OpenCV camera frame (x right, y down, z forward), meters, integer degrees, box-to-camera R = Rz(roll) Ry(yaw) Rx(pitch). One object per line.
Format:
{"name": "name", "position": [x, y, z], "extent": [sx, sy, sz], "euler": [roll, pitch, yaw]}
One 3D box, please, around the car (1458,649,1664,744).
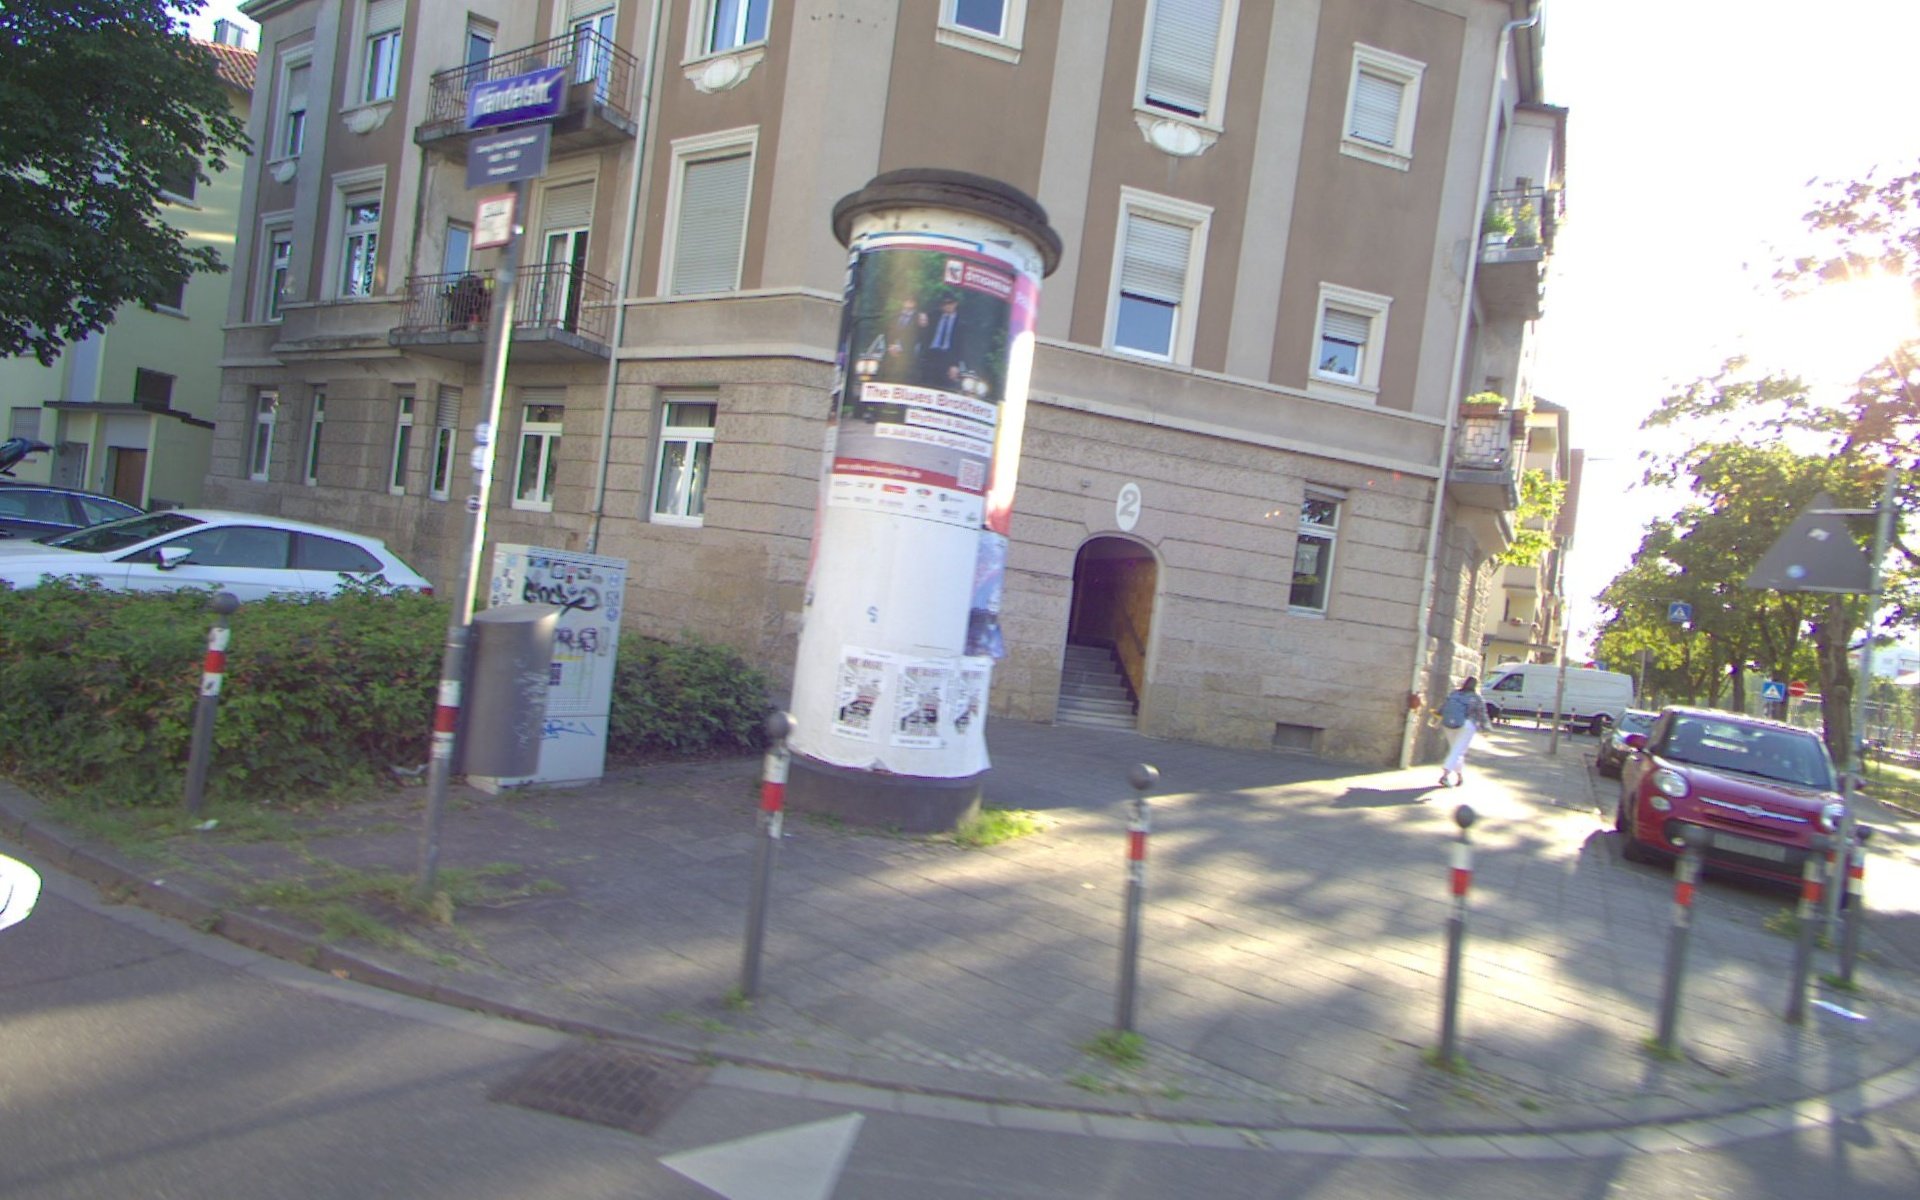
{"name": "car", "position": [24.204, 3.839, 40.752], "extent": [6.564, 2.778, 2.318], "euler": [8, 0, 3]}

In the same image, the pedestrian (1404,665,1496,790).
{"name": "pedestrian", "position": [6.792, 1.758, 13.929], "extent": [0.731, 1.564, 0.818], "euler": [10, 2, 41]}

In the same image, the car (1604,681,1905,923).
{"name": "car", "position": [8.170, 1.923, 10.768], "extent": [1.781, 1.762, 4.080], "euler": [10, 1, 31]}

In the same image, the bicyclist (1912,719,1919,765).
{"name": "bicyclist", "position": [35.739, 5.279, 36.872], "extent": [0.846, 1.668, 0.864], "euler": [8, 1, 25]}

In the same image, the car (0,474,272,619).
{"name": "car", "position": [-10.875, -0.692, 11.891], "extent": [1.645, 1.466, 4.147], "euler": [8, 1, 30]}

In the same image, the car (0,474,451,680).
{"name": "car", "position": [-7.179, -0.168, 9.205], "extent": [1.830, 1.524, 4.054], "euler": [8, 0, 30]}

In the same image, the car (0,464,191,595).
{"name": "car", "position": [-13.186, -1.067, 13.175], "extent": [1.919, 1.545, 4.485], "euler": [9, 1, 26]}

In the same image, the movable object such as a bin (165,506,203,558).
{"name": "movable object such as a bin", "position": [-17.887, -1.567, 23.190], "extent": [0.523, 1.099, 0.456], "euler": [6, 0, 32]}

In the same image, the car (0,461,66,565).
{"name": "car", "position": [-17.686, -1.700, 16.172], "extent": [1.842, 1.661, 4.533], "euler": [8, 0, 30]}

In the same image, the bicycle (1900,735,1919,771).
{"name": "bicycle", "position": [35.600, 5.697, 36.699], "extent": [0.872, 1.236, 3.107], "euler": [8, 0, 25]}

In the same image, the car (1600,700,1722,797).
{"name": "car", "position": [14.812, 3.071, 21.452], "extent": [1.782, 1.552, 4.079], "euler": [9, 0, 33]}
